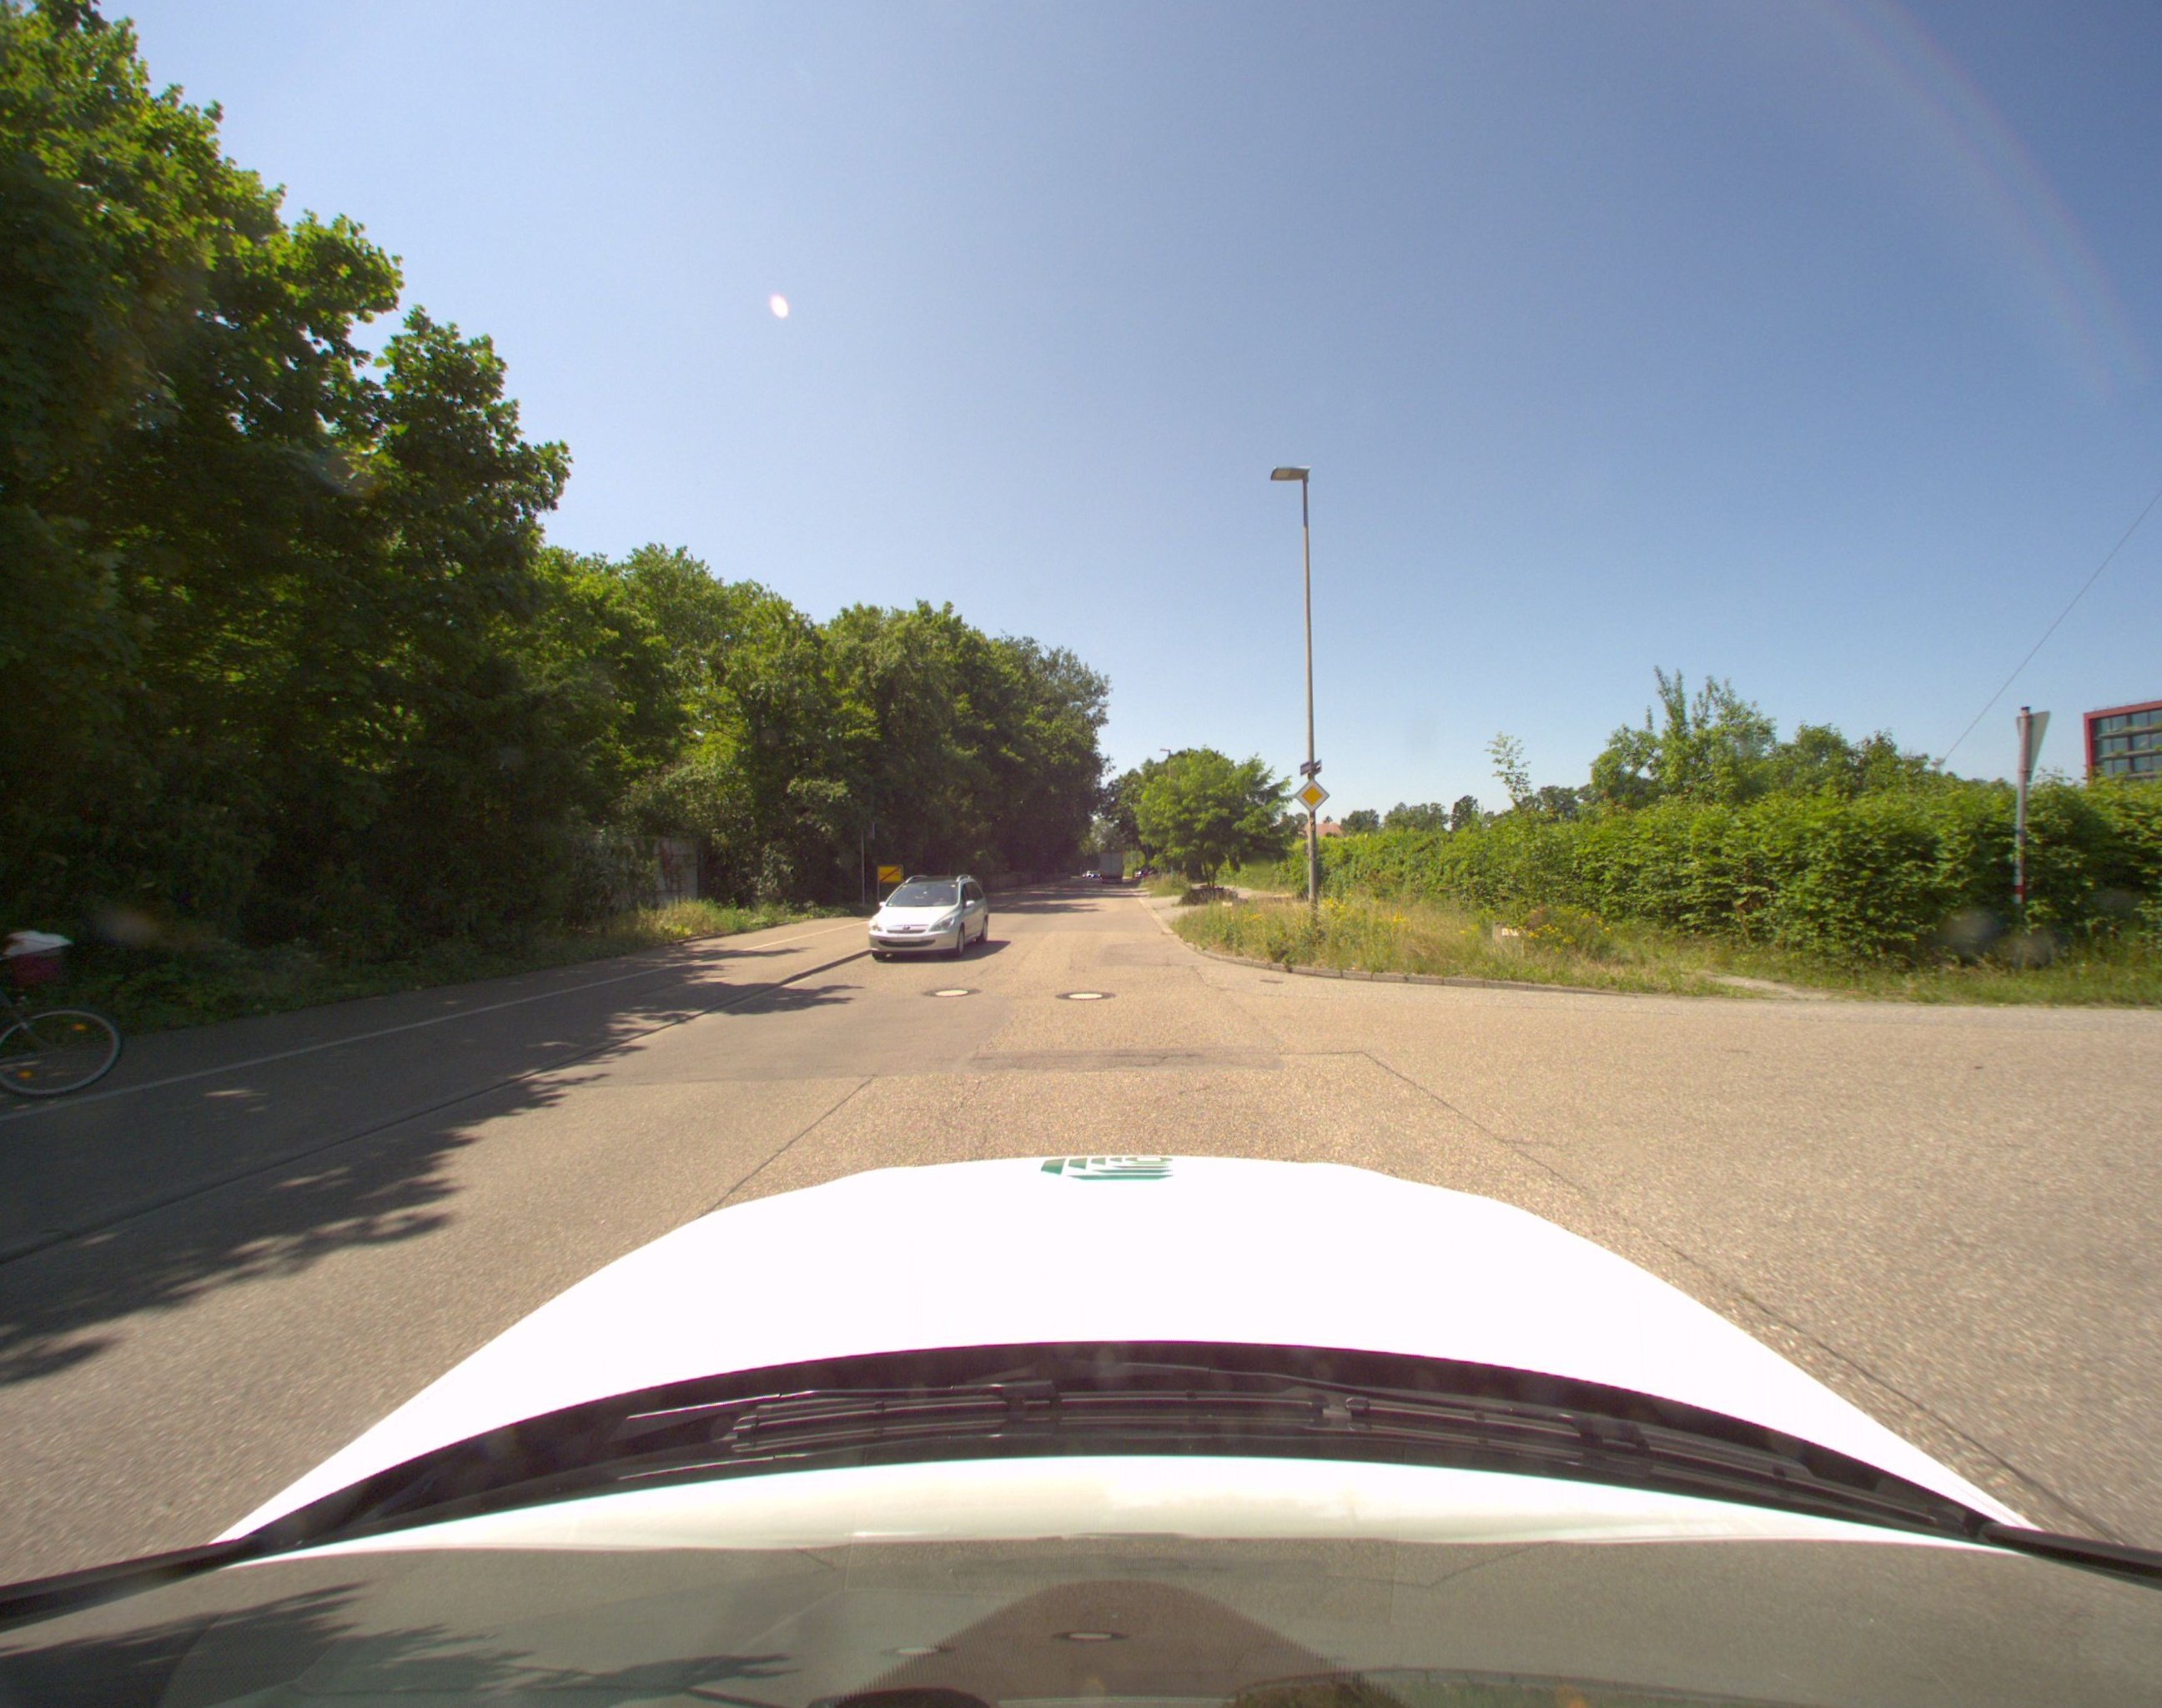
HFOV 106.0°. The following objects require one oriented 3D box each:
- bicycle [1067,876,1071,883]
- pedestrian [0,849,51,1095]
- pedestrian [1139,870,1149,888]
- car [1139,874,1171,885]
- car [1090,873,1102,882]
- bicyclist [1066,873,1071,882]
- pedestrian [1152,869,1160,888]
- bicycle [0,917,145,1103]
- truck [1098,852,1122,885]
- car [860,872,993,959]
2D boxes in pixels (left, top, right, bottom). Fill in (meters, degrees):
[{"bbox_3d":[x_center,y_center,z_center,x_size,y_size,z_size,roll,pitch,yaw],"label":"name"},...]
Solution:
[{"bbox_3d":[-2.211,4.728,150.089,0.715,1.159,2.231,-1,-2,3],"label":"bicycle"},{"bbox_3d":[-7.989,0.816,5.622,0.802,1.718,0.780,0,-2,17],"label":"pedestrian"},{"bbox_3d":[6.003,2.374,77.405,0.860,1.677,0.885,-1,-2,0],"label":"pedestrian"},{"bbox_3d":[9.759,3.352,107.545,4.179,1.445,1.739,-1,-2,2],"label":"car"},{"bbox_3d":[2.719,4.348,149.127,1.985,1.684,4.264,-1,-2,2],"label":"car"},{"bbox_3d":[-2.222,4.337,150.128,0.829,1.716,0.958,-1,-2,2],"label":"bicyclist"},{"bbox_3d":[7.199,2.361,78.185,0.736,1.739,0.885,-1,-2,0],"label":"pedestrian"},{"bbox_3d":[-7.685,1.063,5.320,0.517,1.237,1.968,1,-3,14],"label":"bicycle"},{"bbox_3d":[3.585,1.891,99.098,2.722,3.746,13.251,1,-2,3],"label":"truck"},{"bbox_3d":[-3.068,1.190,17.068,1.784,1.573,4.273,-1,-2,2],"label":"car"}]
